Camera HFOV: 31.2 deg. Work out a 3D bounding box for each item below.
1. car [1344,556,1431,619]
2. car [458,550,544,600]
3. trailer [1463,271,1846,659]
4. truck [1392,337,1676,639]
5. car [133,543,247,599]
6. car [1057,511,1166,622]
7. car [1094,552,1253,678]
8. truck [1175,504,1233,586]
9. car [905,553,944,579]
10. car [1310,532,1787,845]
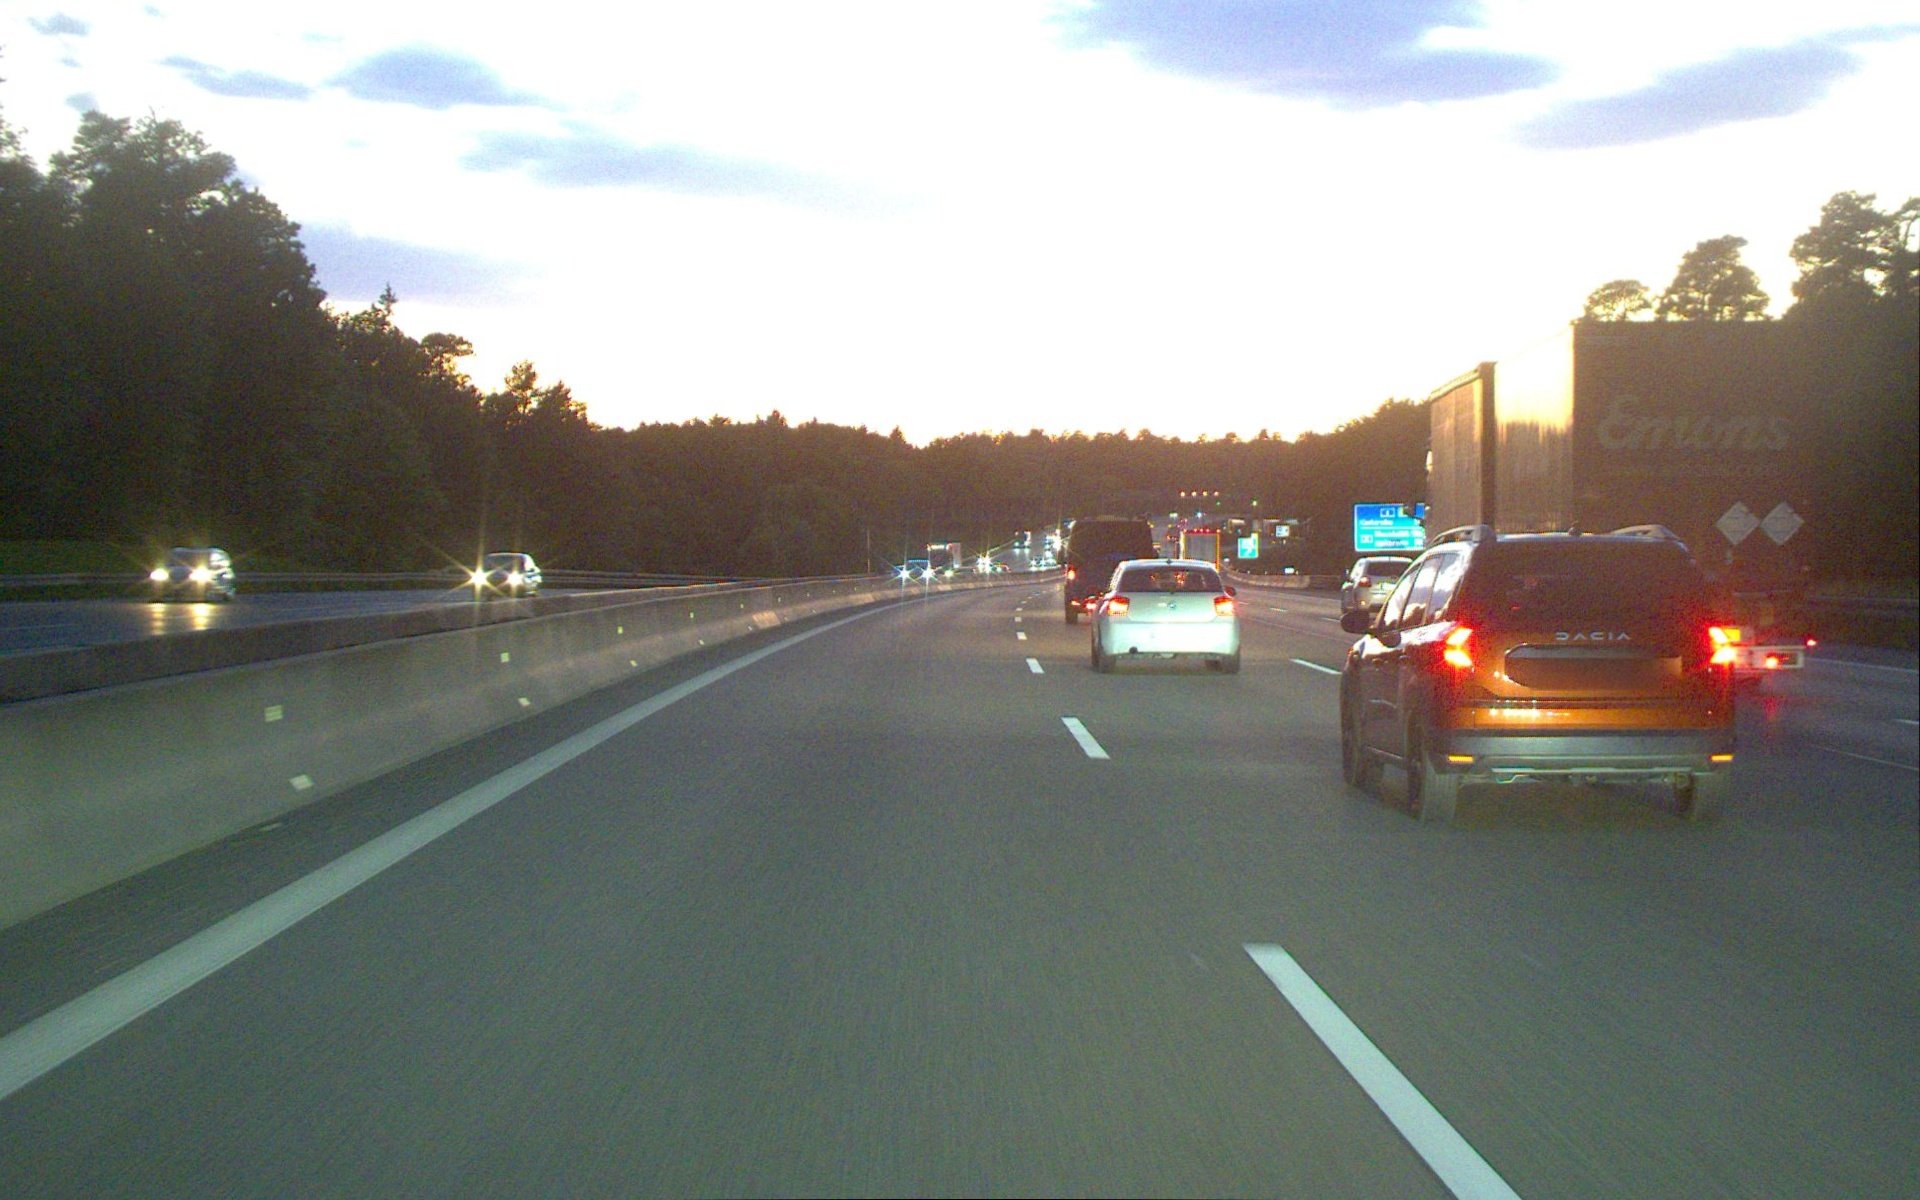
[{"bbox_3d":[10.517,-0.315,84.747,2.008,1.533,3.999,0,0,5],"label":"car"},{"bbox_3d":[-14.325,-0.804,107.517,1.842,1.458,4.776,2,1,2],"label":"car"},{"bbox_3d":[8.072,-1.464,41.399,2.907,4.086,10.357,0,0,2],"label":"trailer"},{"bbox_3d":[8.451,-1.562,51.962,2.885,4.086,10.831,0,0,2],"label":"truck"},{"bbox_3d":[-21.685,-0.837,96.984,1.843,1.458,3.999,2,1,7],"label":"car"},{"bbox_3d":[3.460,-0.740,77.333,2.166,2.410,5.563,0,0,5],"label":"car"},{"bbox_3d":[2.668,0.160,43.709,1.859,1.437,3.721,0,2,1],"label":"car"},{"bbox_3d":[17.843,-3.944,251.987,4.150,5.836,14.294,0,0,4],"label":"truck"},{"bbox_3d":[-2.215,-2.130,215.260,1.994,1.633,5.110,1,1,4],"label":"car"},{"bbox_3d":[3.364,0.417,20.687,1.903,1.638,5.053,0,1,-1],"label":"car"}]
